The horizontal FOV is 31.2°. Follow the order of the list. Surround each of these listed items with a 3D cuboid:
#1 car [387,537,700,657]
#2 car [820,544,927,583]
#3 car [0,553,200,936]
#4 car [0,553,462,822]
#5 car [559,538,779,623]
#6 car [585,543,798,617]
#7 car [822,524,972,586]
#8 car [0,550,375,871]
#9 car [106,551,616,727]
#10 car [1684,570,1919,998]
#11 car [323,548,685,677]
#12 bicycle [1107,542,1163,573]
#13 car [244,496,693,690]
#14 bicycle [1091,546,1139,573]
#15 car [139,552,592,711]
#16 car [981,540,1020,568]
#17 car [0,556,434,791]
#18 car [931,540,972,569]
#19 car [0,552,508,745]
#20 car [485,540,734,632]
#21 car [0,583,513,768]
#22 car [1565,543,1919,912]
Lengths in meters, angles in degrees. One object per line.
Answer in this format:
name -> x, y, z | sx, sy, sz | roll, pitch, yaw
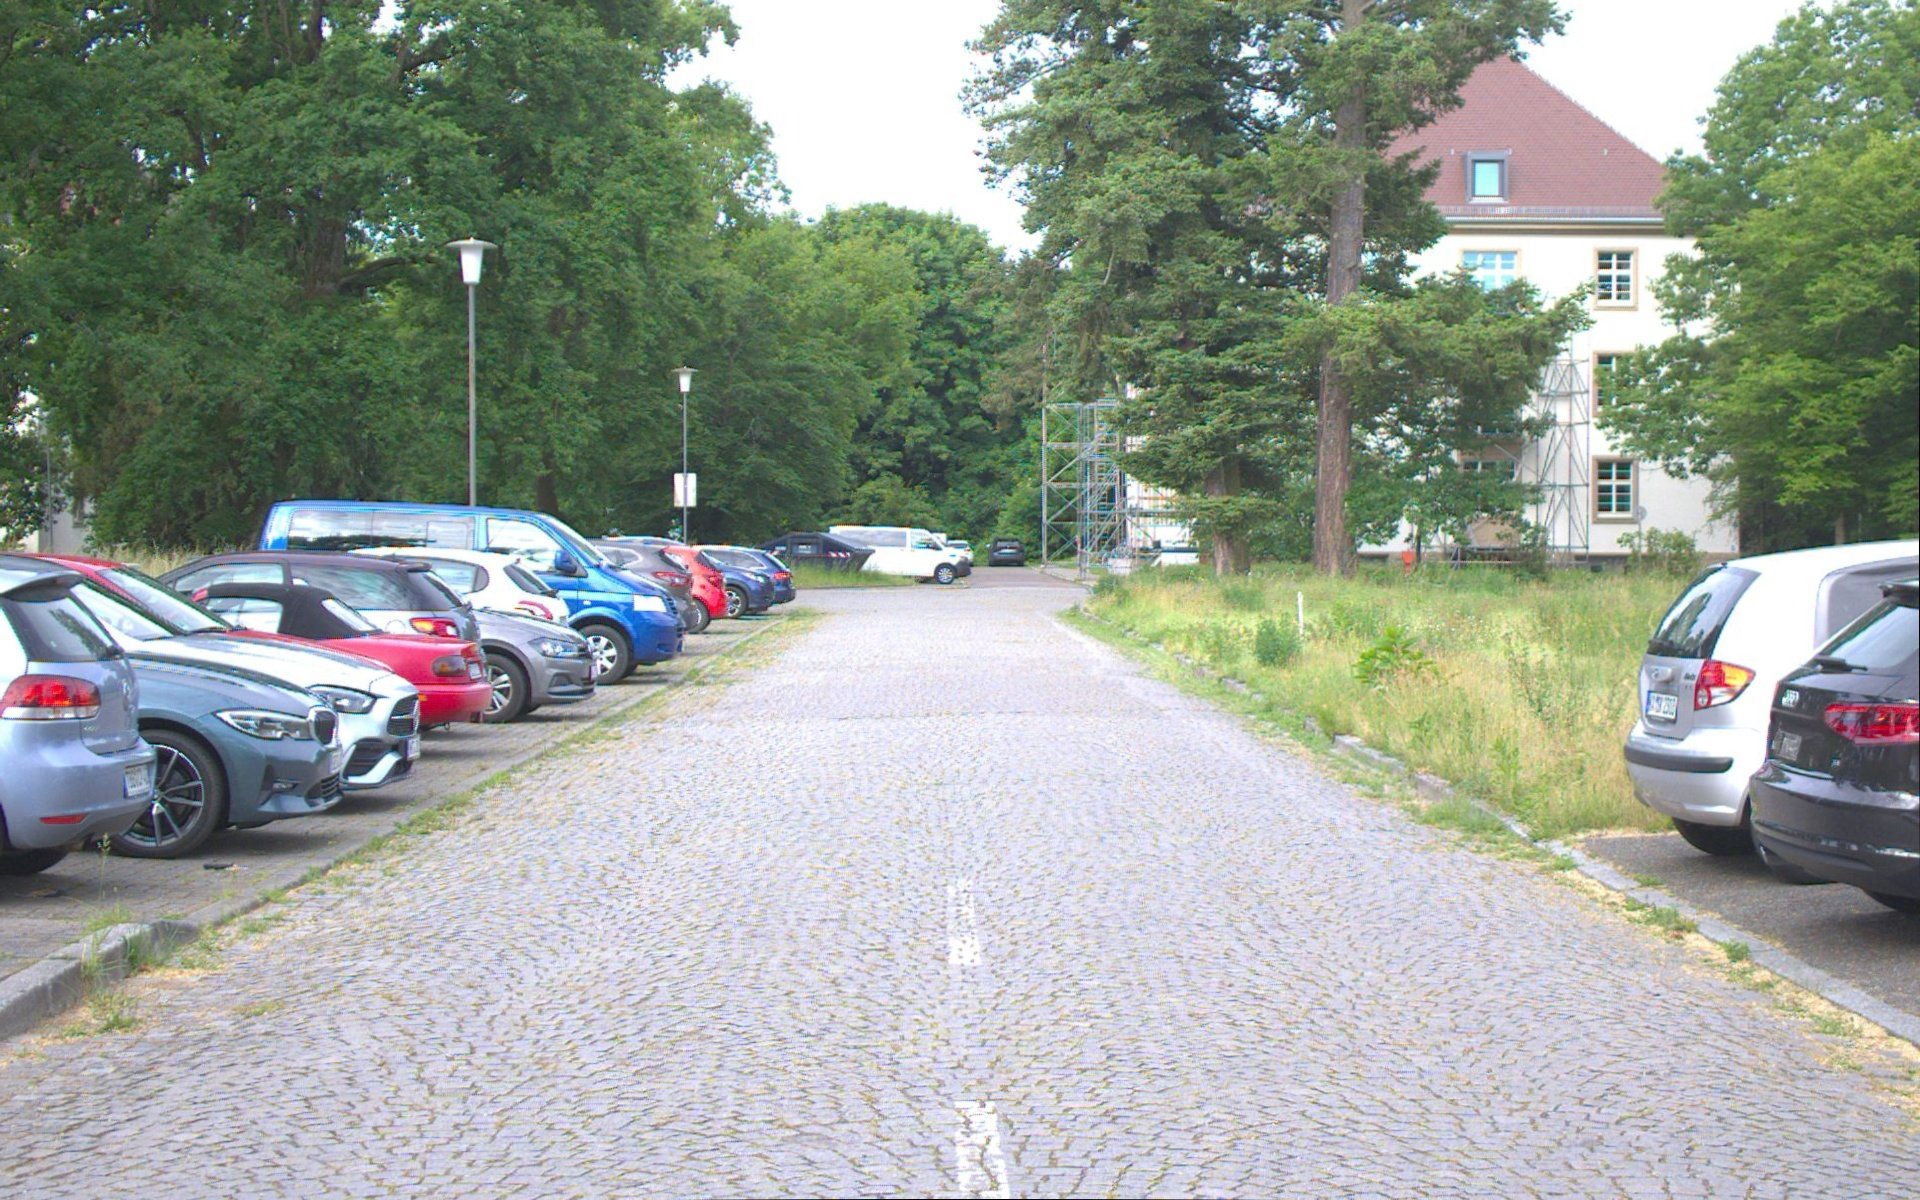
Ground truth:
car -> -5.716, -0.054, 47.580 | 4.165, 1.616, 1.987 | 0, 1, -3
car -> -3.138, -1.326, 124.334 | 3.788, 1.390, 2.000 | 0, 1, -3
car -> -5.471, 0.572, 14.840 | 3.986, 1.537, 1.905 | 0, 1, -1
car -> -5.243, 0.481, 20.315 | 4.373, 1.502, 1.936 | 0, 1, -2
car -> -5.737, -0.399, 68.221 | 4.228, 1.571, 1.887 | 1, 1, -2
car -> -5.666, -0.434, 72.921 | 4.303, 1.456, 1.975 | 1, 1, 1
car -> -2.252, -1.593, 121.738 | 5.234, 2.160, 2.000 | 0, 1, -2
car -> -5.233, 0.520, 17.571 | 4.249, 1.542, 1.936 | 0, 1, -4
car -> -5.242, 0.321, 30.458 | 4.166, 1.486, 1.865 | 0, 1, 1
car -> 5.062, 0.568, 13.183 | 4.073, 1.448, 1.885 | -3, 1, -2
car -> -5.430, 0.135, 41.290 | 4.165, 1.505, 1.782 | 0, 1, -2
bicycle -> 7.052, -1.731, 138.966 | 2.240, 1.250, 0.777 | 0, 1, 2
car -> -5.458, -0.097, 38.696 | 4.781, 2.115, 2.115 | 0, 1, -1
bicycle -> 7.220, -1.903, 160.521 | 2.240, 1.250, 0.634 | 0, 1, 2
car -> -5.716, 0.284, 33.407 | 4.067, 1.492, 1.846 | 0, 1, 1
car -> 2.183, -2.500, 188.034 | 1.951, 1.516, 4.000 | 0, 1, -2
car -> -5.677, 0.452, 22.611 | 4.166, 1.471, 1.865 | 0, 1, -1
car -> -0.493, -2.486, 187.735 | 2.118, 1.516, 4.000 | 0, 1, -2
car -> -5.847, 0.364, 27.639 | 4.166, 1.477, 1.846 | 0, 1, 1
car -> -5.865, -0.255, 57.950 | 4.054, 1.520, 1.905 | 0, 1, -2
car -> -5.458, 0.520, 24.986 | 4.166, 1.262, 1.831 | 0, 1, 1
car -> 5.045, 0.482, 15.891 | 4.073, 1.510, 1.804 | -3, 1, -2
